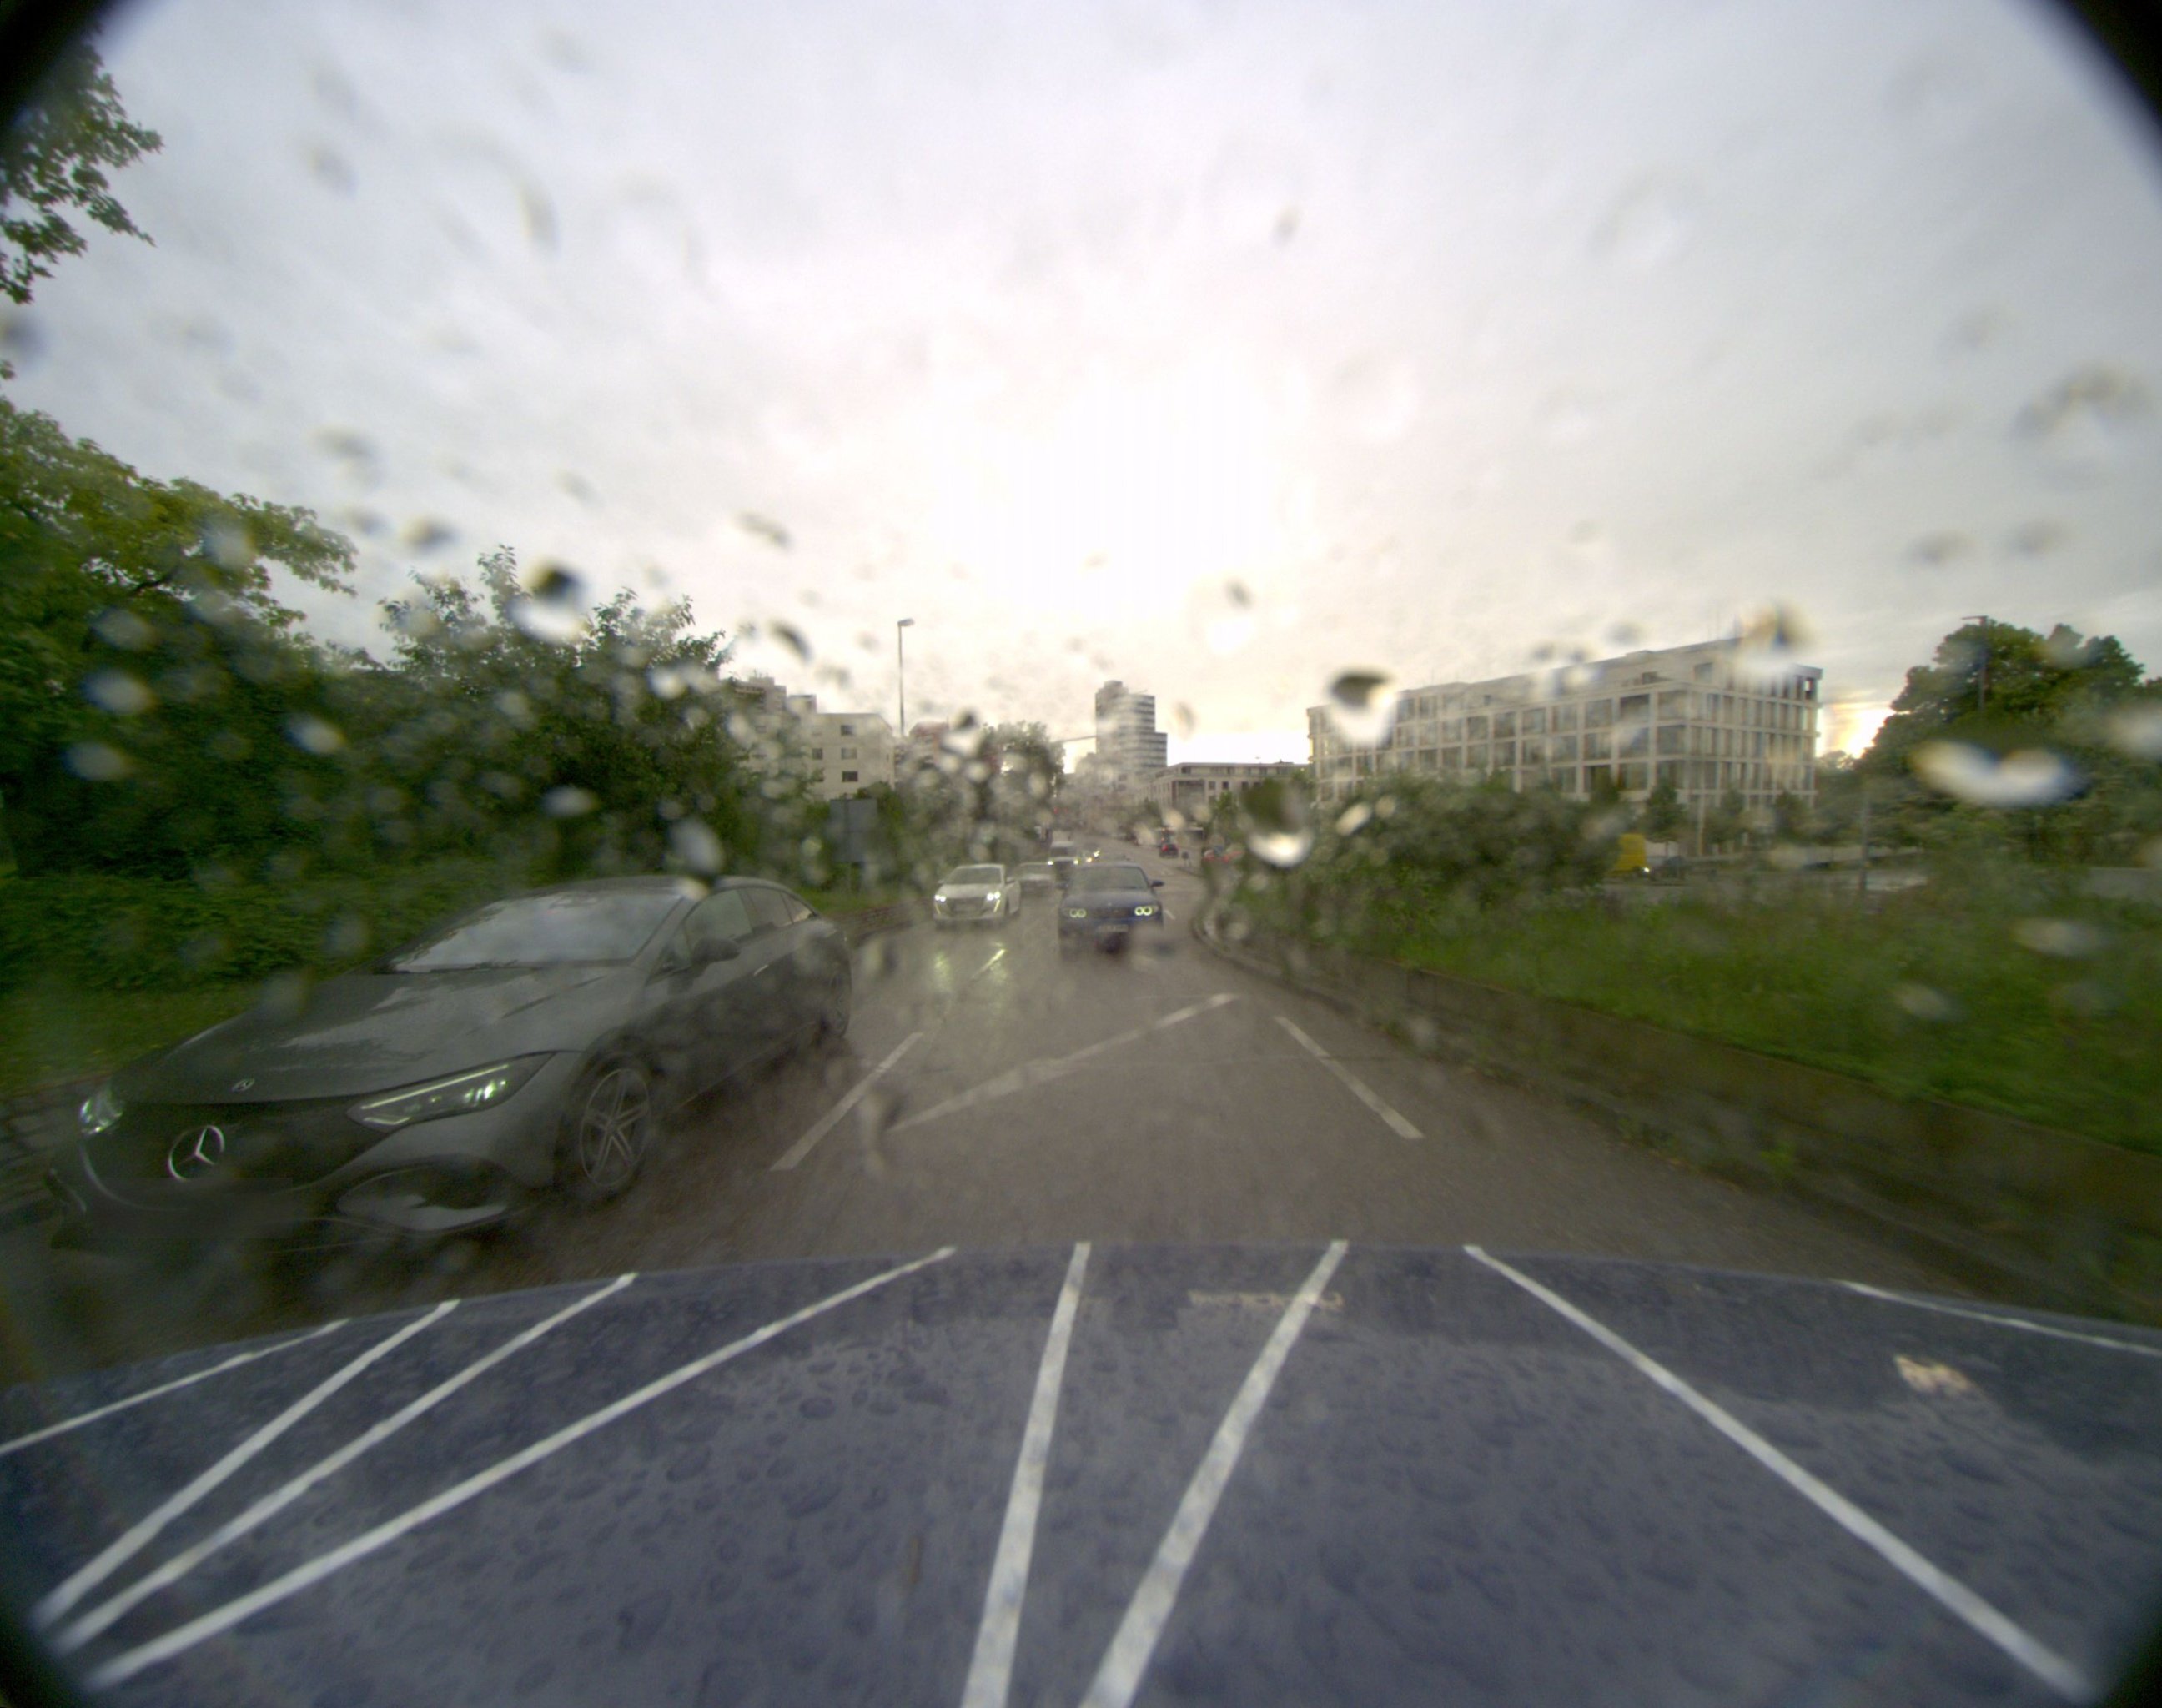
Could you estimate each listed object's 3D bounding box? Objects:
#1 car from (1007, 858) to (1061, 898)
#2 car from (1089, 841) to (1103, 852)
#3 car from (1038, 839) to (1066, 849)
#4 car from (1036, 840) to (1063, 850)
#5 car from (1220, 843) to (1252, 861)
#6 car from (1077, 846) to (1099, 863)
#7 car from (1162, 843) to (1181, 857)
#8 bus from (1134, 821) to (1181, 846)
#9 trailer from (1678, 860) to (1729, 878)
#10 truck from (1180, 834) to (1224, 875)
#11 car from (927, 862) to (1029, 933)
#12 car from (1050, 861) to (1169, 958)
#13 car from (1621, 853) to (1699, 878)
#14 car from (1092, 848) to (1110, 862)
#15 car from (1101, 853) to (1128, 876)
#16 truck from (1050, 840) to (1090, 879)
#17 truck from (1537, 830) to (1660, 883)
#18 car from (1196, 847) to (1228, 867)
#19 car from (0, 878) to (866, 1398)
[{"bbox_3d":[-1.865,0.960,31.385,1.717,1.369,3.735,-3,1,4],"label":"car"},{"bbox_3d":[2.164,-1.111,111.403,1.998,1.543,4.000,-2,0,1],"label":"car"},{"bbox_3d":[-4.414,-1.551,115.640,3.999,1.412,1.998,-3,2,-6],"label":"car"},{"bbox_3d":[-4.857,-1.376,117.698,3.999,1.412,1.701,-3,2,-6],"label":"car"},{"bbox_3d":[13.595,-0.186,66.885,1.955,1.470,4.295,1,1,1],"label":"car"},{"bbox_3d":[0.653,0.034,72.110,1.998,1.543,4.000,-1,0,1],"label":"car"},{"bbox_3d":[10.691,-0.459,89.677,1.907,1.543,4.075,0,1,3],"label":"car"},{"bbox_3d":[13.117,-3.546,133.491,2.954,3.972,18.205,0,1,-11],"label":"bus"},{"bbox_3d":[36.384,0.860,44.413,2.290,0.973,1.604,0,2,-30],"label":"trailer"},{"bbox_3d":[7.732,-0.052,49.093,2.168,2.425,6.200,-1,1,4],"label":"truck"},{"bbox_3d":[-2.480,1.010,19.222,1.717,1.389,4.036,-3,1,4],"label":"car"},{"bbox_3d":[0.558,0.879,13.576,1.786,1.335,3.705,-2,1,4],"label":"car"},{"bbox_3d":[32.246,0.619,42.328,4.363,1.310,1.860,0,2,-30],"label":"car"},{"bbox_3d":[2.277,0.142,87.538,1.998,1.543,4.000,-2,0,1],"label":"car"},{"bbox_3d":[2.292,0.688,51.311,1.717,1.369,3.735,-3,1,4],"label":"car"},{"bbox_3d":[-0.657,0.281,50.866,2.168,2.425,6.200,-1,1,4],"label":"truck"},{"bbox_3d":[26.077,0.091,38.244,6.184,2.524,2.223,0,2,-26],"label":"truck"},{"bbox_3d":[10.603,0.218,61.679,1.998,1.406,4.431,-1,1,3],"label":"car"},{"bbox_3d":[-3.029,1.023,4.755,1.836,1.436,4.550,-3,1,2],"label":"car"}]
